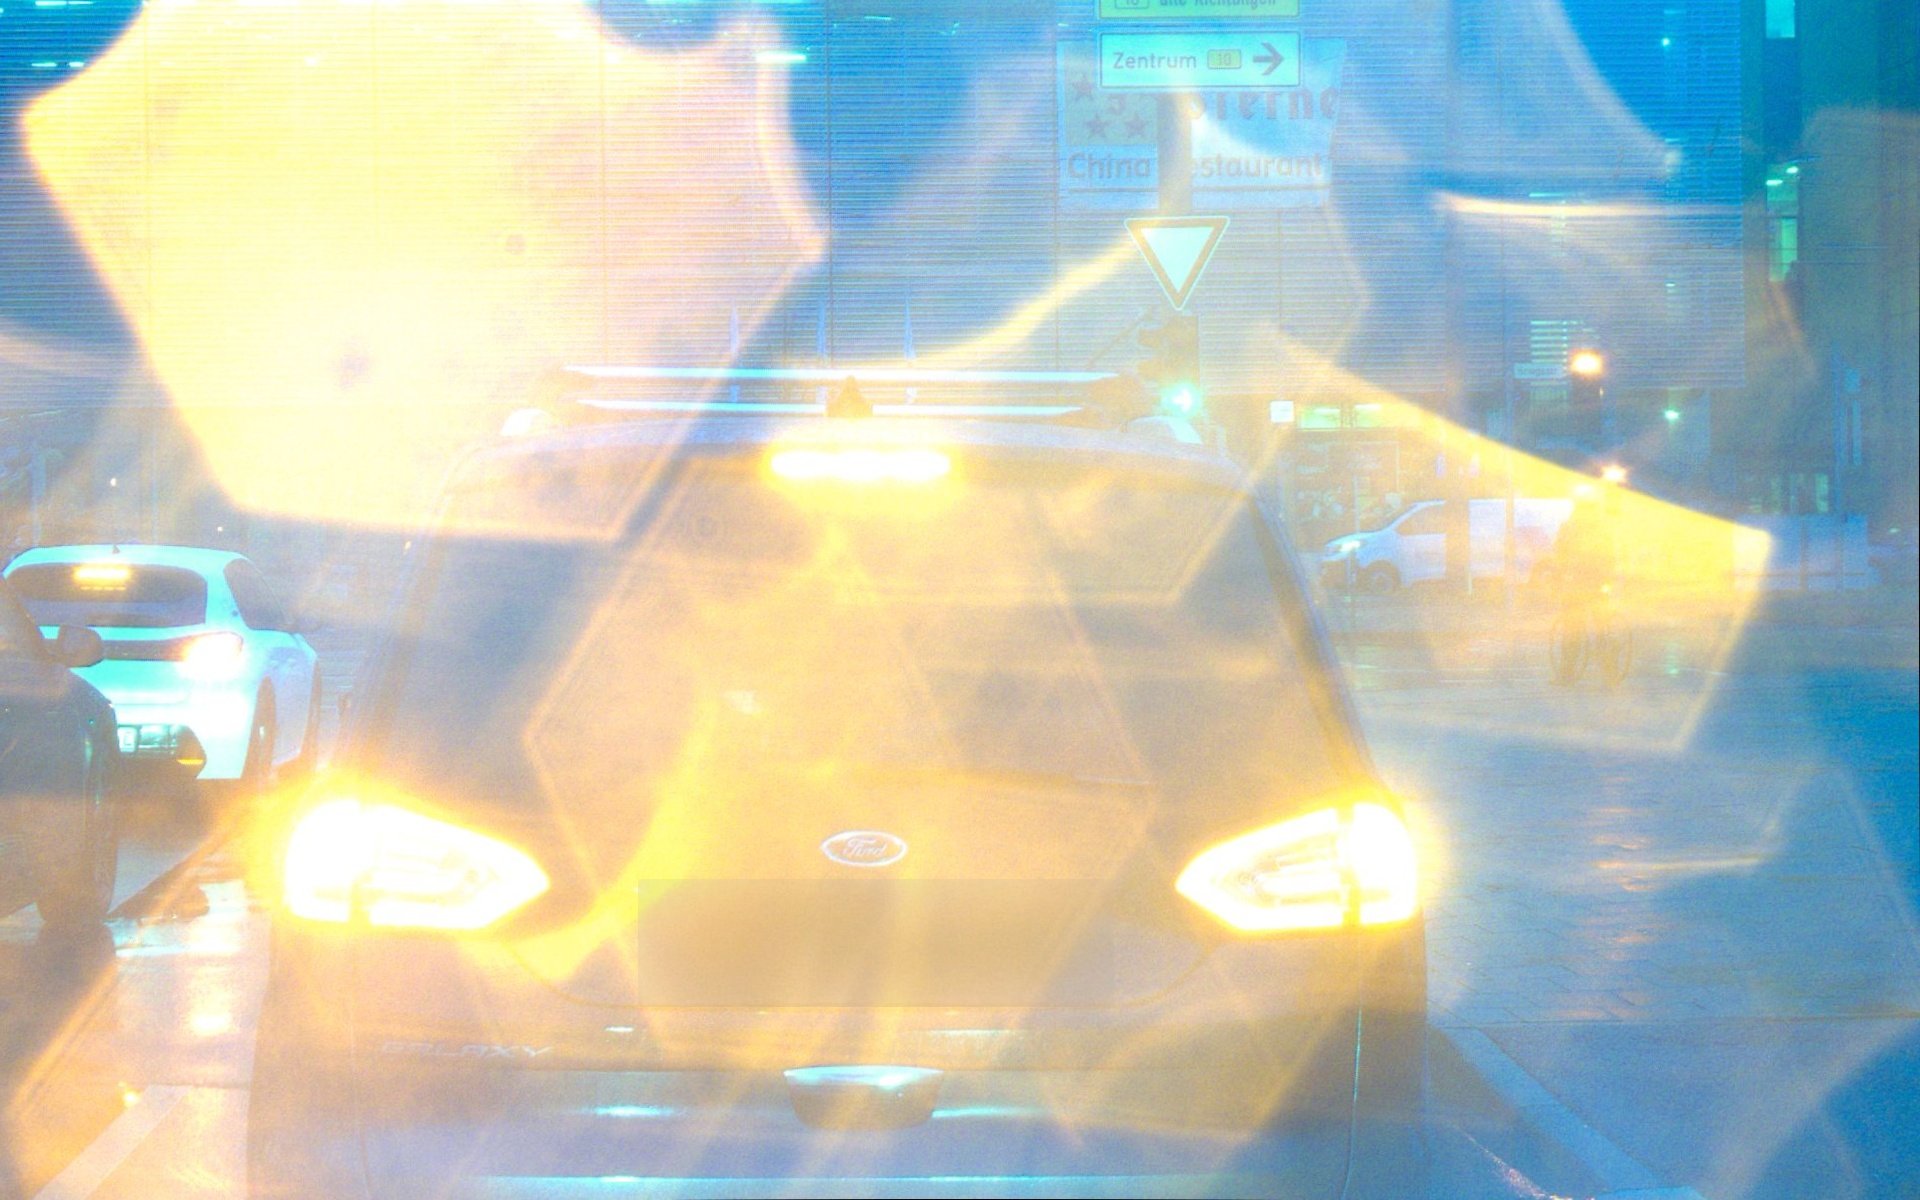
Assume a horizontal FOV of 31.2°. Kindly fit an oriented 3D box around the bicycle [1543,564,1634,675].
[{"bbox_3d":[5.808,0.163,31.828,0.655,0.970,1.866,-1,1,5],"label":"bicycle"}]

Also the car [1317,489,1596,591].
[{"bbox_3d":[9.450,-1.156,65.669,4.945,1.865,1.905,-1,1,-5],"label":"car"}]

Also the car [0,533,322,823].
[{"bbox_3d":[-4.625,0.353,19.268,1.758,1.458,3.918,0,1,-6],"label":"car"}]

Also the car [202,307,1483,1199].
[{"bbox_3d":[-0.197,0.478,6.565,1.674,1.773,4.000,1,1,-1],"label":"car"}]

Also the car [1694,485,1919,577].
[{"bbox_3d":[18.006,-1.468,72.932,4.358,1.865,1.905,-1,1,-6],"label":"car"}]

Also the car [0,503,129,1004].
[{"bbox_3d":[-4.024,0.470,11.620,1.820,1.564,4.363,-1,1,-7],"label":"car"}]

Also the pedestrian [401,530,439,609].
[{"bbox_3d":[-12.218,-0.692,77.767,0.787,1.781,0.733,-1,1,-5],"label":"pedestrian"}]

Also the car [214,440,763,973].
[{"bbox_3d":[-1.812,0.307,13.991,1.843,1.800,4.488,-1,1,-5],"label":"car"}]

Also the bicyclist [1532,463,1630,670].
[{"bbox_3d":[5.731,-0.314,31.760,0.791,1.884,0.989,-1,1,5],"label":"bicyclist"}]
